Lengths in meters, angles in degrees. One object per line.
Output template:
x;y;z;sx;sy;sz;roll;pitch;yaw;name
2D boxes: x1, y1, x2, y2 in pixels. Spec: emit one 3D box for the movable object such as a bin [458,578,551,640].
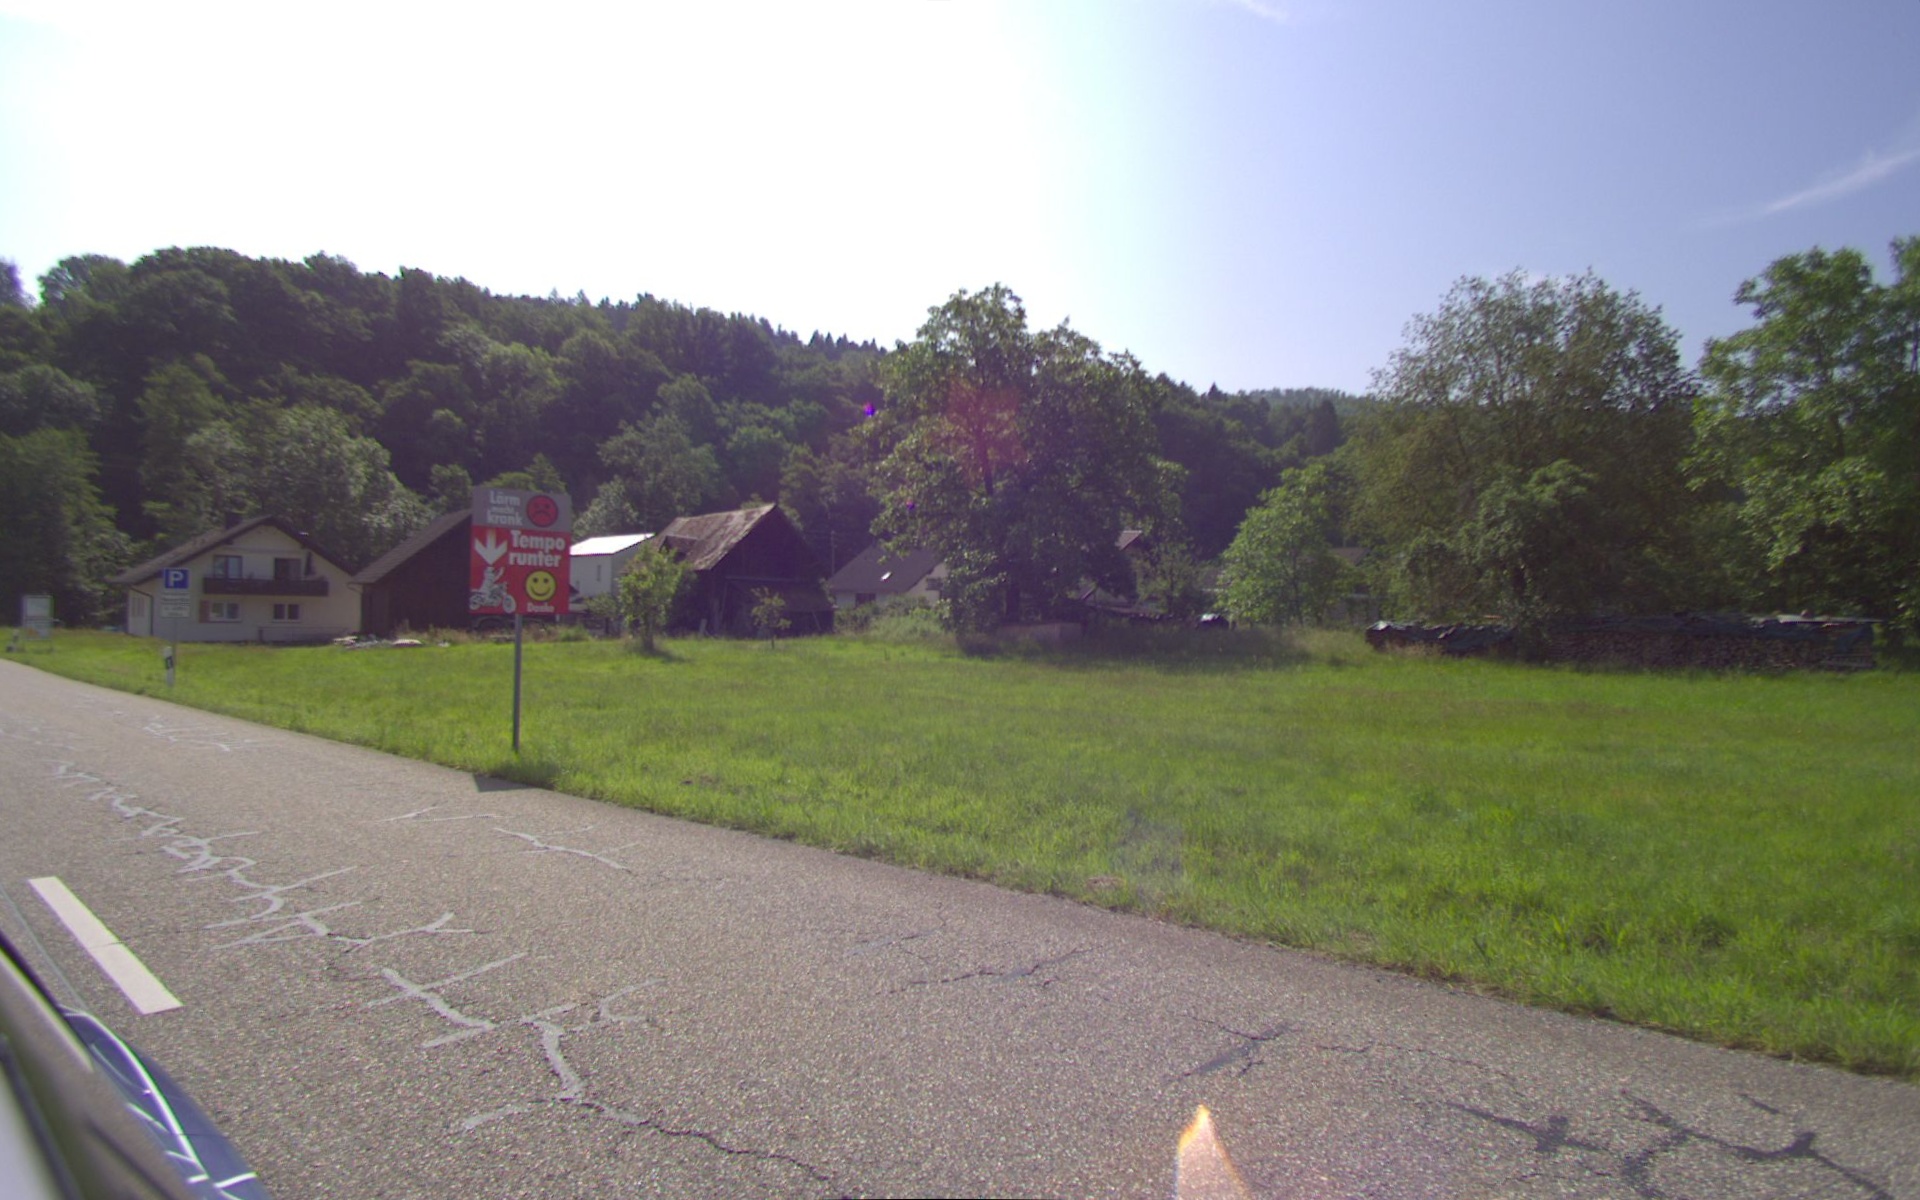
-23.951;0.487;53.285;4.123;3.161;2.208;1;-1;-35;movable object such as a bin
